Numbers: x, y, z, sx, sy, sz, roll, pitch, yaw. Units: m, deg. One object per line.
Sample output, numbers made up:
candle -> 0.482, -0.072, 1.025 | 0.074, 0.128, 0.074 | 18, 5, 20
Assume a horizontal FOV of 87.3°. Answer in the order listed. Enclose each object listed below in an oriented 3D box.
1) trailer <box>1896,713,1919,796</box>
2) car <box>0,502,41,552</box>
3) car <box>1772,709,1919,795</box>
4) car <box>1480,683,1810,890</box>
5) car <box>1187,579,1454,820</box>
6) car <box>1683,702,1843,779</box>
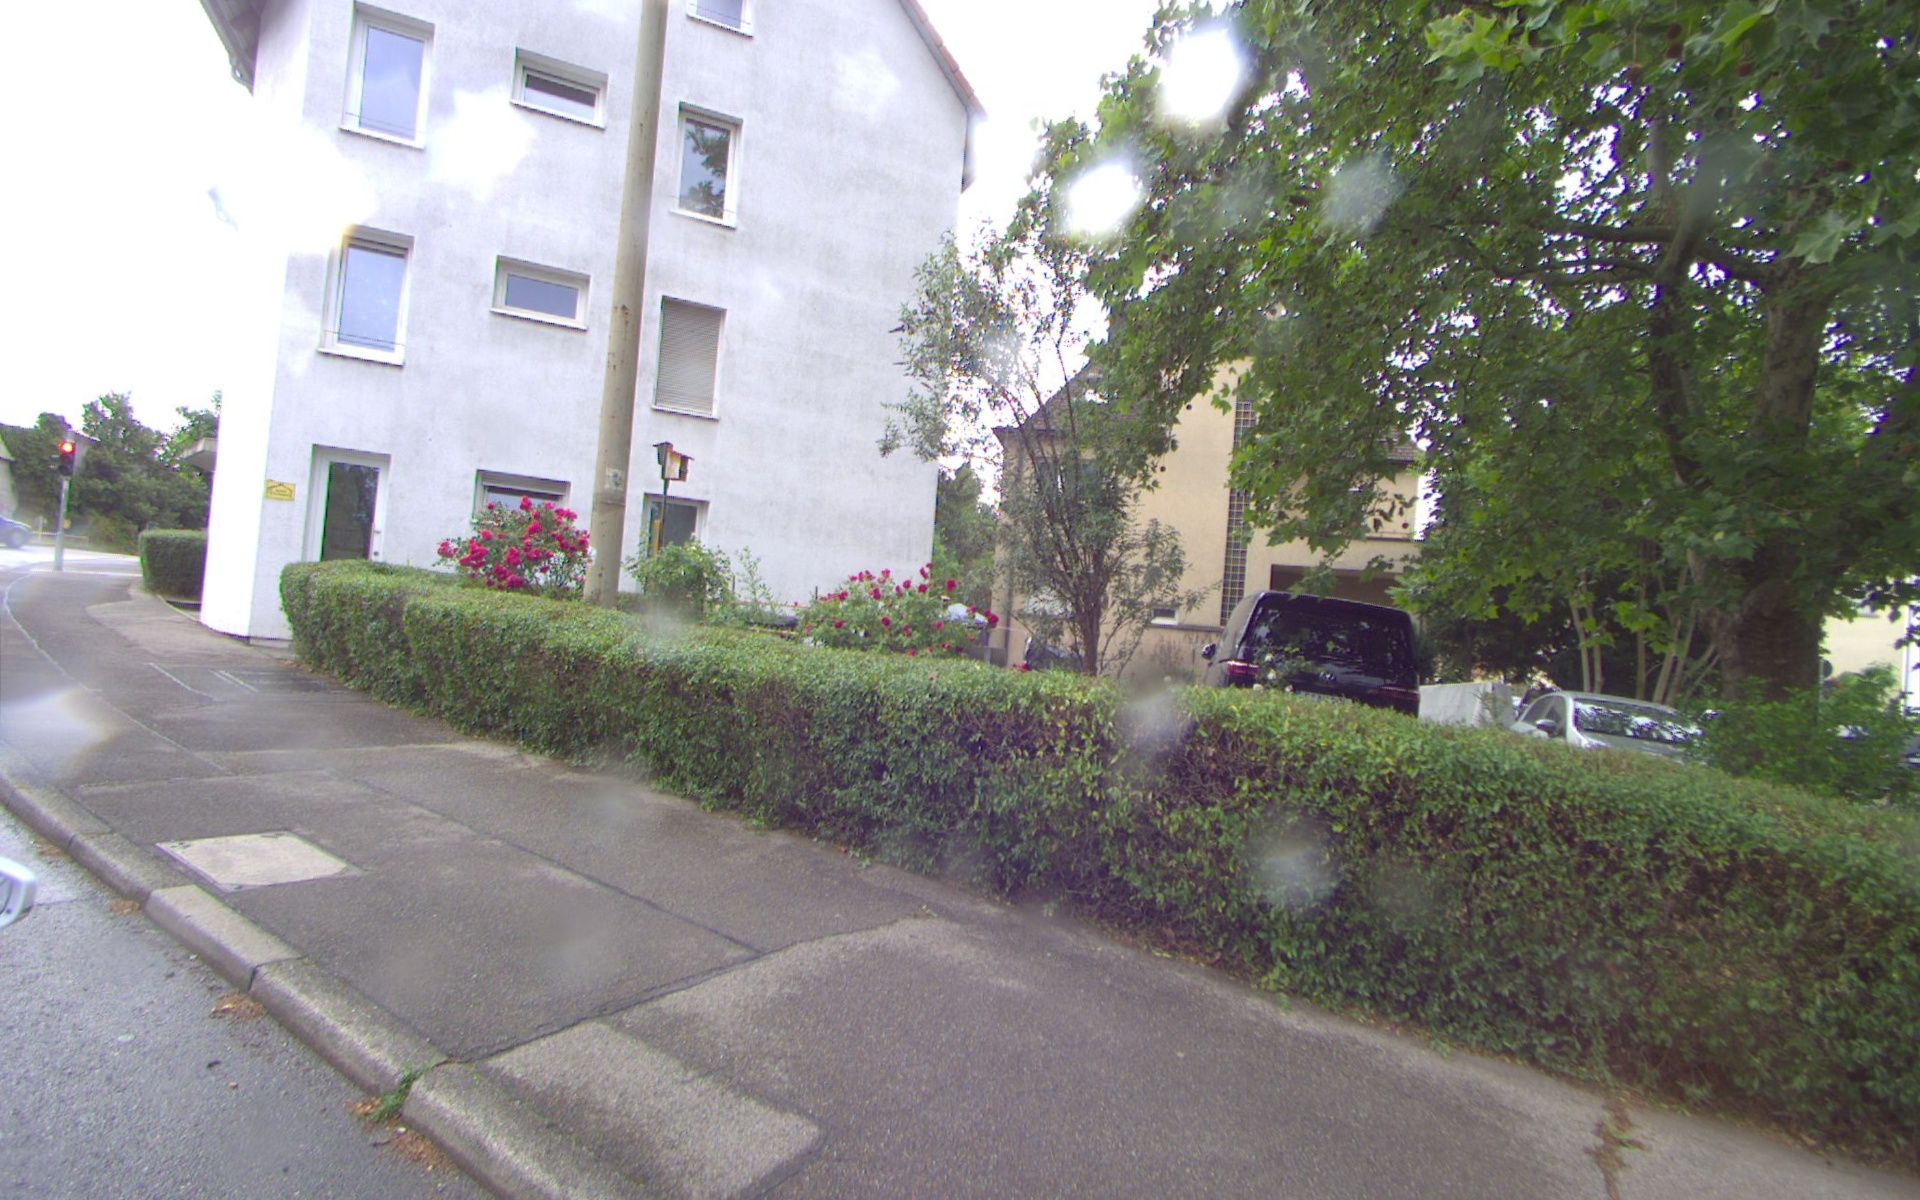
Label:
trailer -> 24.711, 3.924, 23.985 | 1.640, 2.037, 3.494 | 6, -1, 8
car -> -32.707, -2.594, 32.573 | 1.962, 1.536, 4.004 | 6, -2, 3
car -> 25.255, 4.213, 27.999 | 1.962, 1.861, 4.584 | 6, -2, 9
car -> 7.376, 1.882, 11.359 | 1.788, 1.599, 4.003 | 6, -2, 16
car -> 3.748, 0.994, 11.317 | 1.962, 1.955, 4.419 | 6, -1, 11
car -> 26.340, 4.554, 33.244 | 1.962, 1.861, 4.584 | 6, -2, 9
